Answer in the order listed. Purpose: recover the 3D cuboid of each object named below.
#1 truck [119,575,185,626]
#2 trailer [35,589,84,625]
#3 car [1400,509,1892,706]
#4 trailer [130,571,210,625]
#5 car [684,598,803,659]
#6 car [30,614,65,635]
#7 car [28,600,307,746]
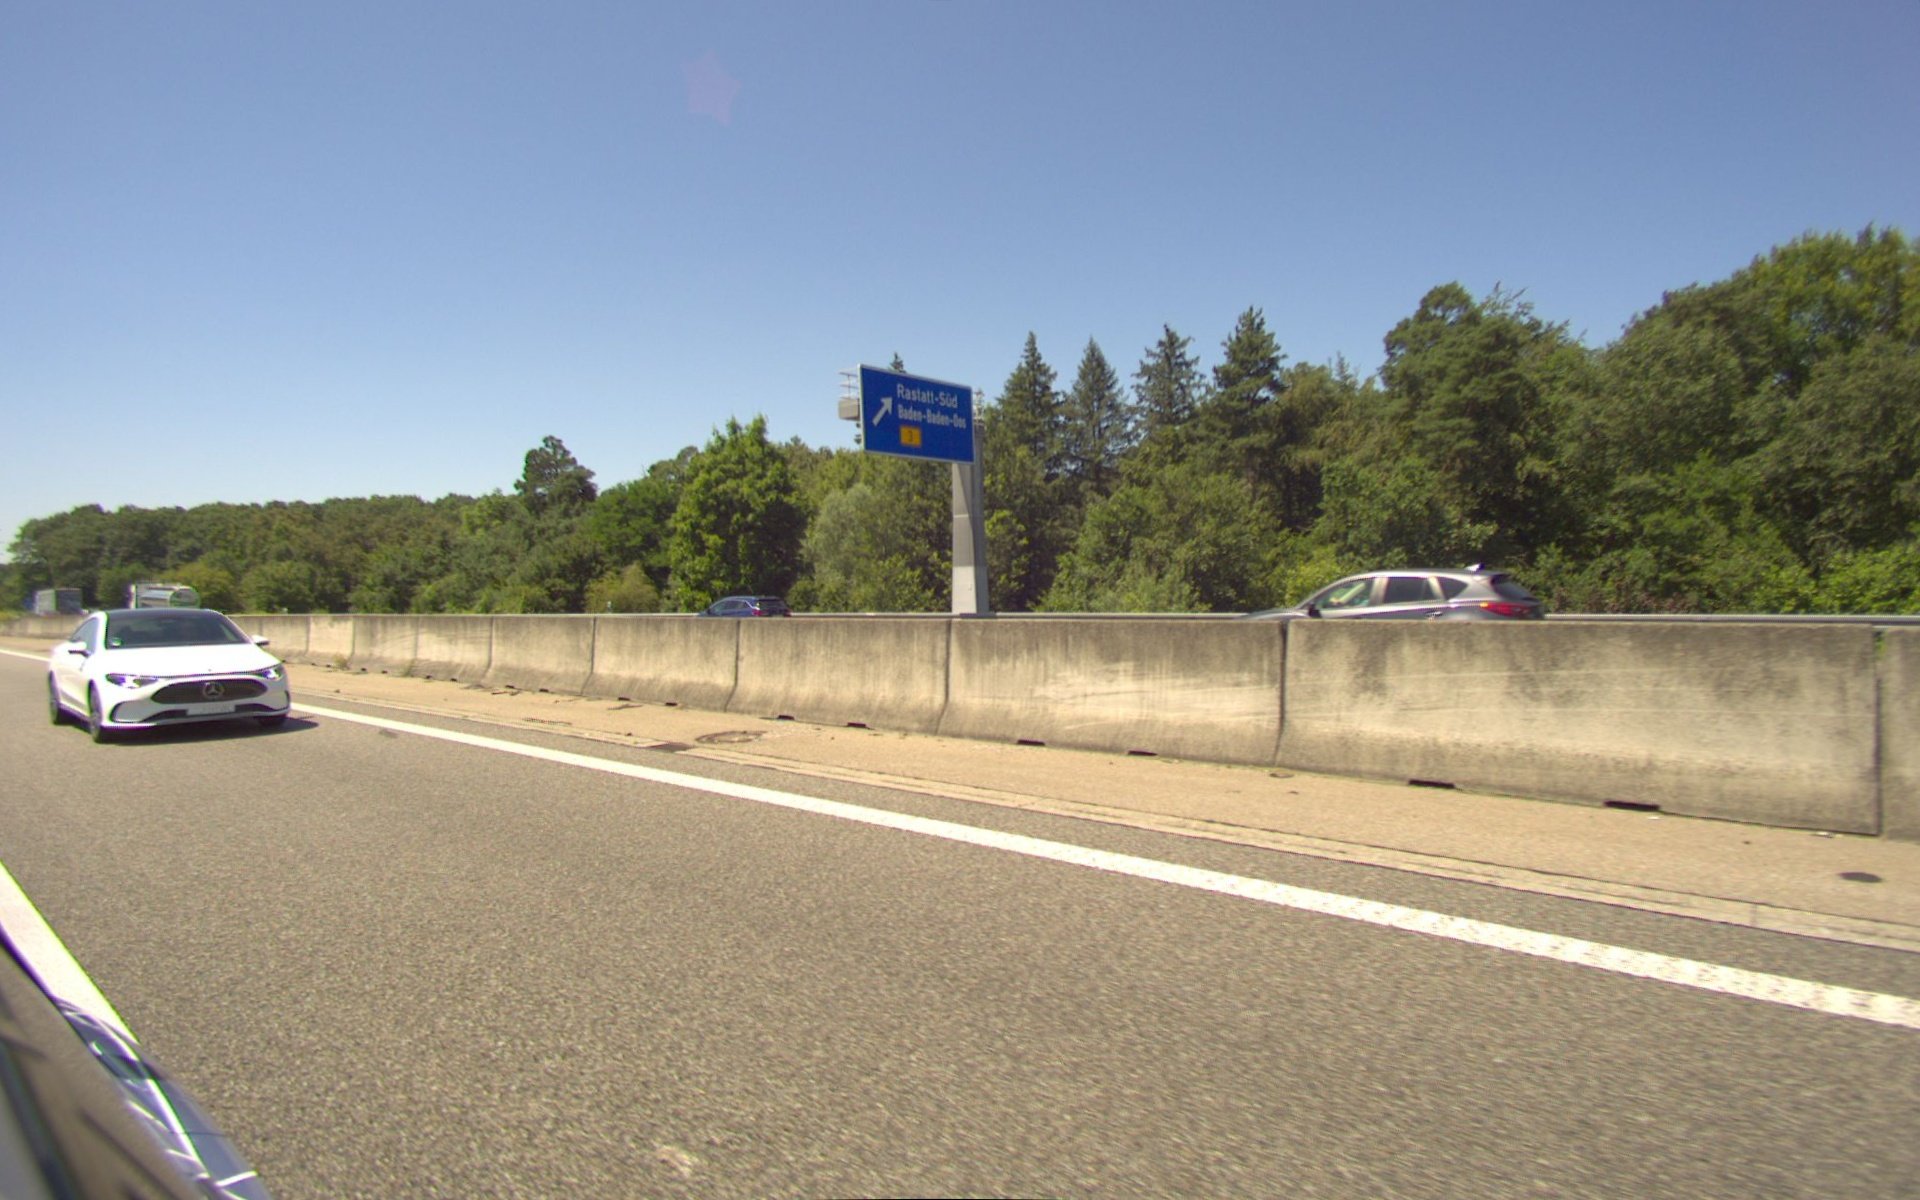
[{"bbox_3d":[-69.185,0.087,86.608,7.724,4.076,2.780,-1,3,40],"label":"truck"},{"bbox_3d":[-110.324,0.890,123.952,11.768,4.107,2.953,-1,0,41],"label":"trailer"},{"bbox_3d":[8.375,0.091,12.770,4.819,2.029,1.974,-1,0,39],"label":"car"},{"bbox_3d":[-64.856,-0.100,82.990,10.422,4.076,2.780,-1,3,40],"label":"trailer"},{"bbox_3d":[-7.863,1.001,36.573,4.428,2.029,1.972,-1,0,42],"label":"car"},{"bbox_3d":[-92.052,2.473,102.048,4.572,2.029,1.974,-1,1,40],"label":"car"},{"bbox_3d":[-9.904,0.776,12.468,5.105,1.459,1.749,-1,-1,41],"label":"car"}]
